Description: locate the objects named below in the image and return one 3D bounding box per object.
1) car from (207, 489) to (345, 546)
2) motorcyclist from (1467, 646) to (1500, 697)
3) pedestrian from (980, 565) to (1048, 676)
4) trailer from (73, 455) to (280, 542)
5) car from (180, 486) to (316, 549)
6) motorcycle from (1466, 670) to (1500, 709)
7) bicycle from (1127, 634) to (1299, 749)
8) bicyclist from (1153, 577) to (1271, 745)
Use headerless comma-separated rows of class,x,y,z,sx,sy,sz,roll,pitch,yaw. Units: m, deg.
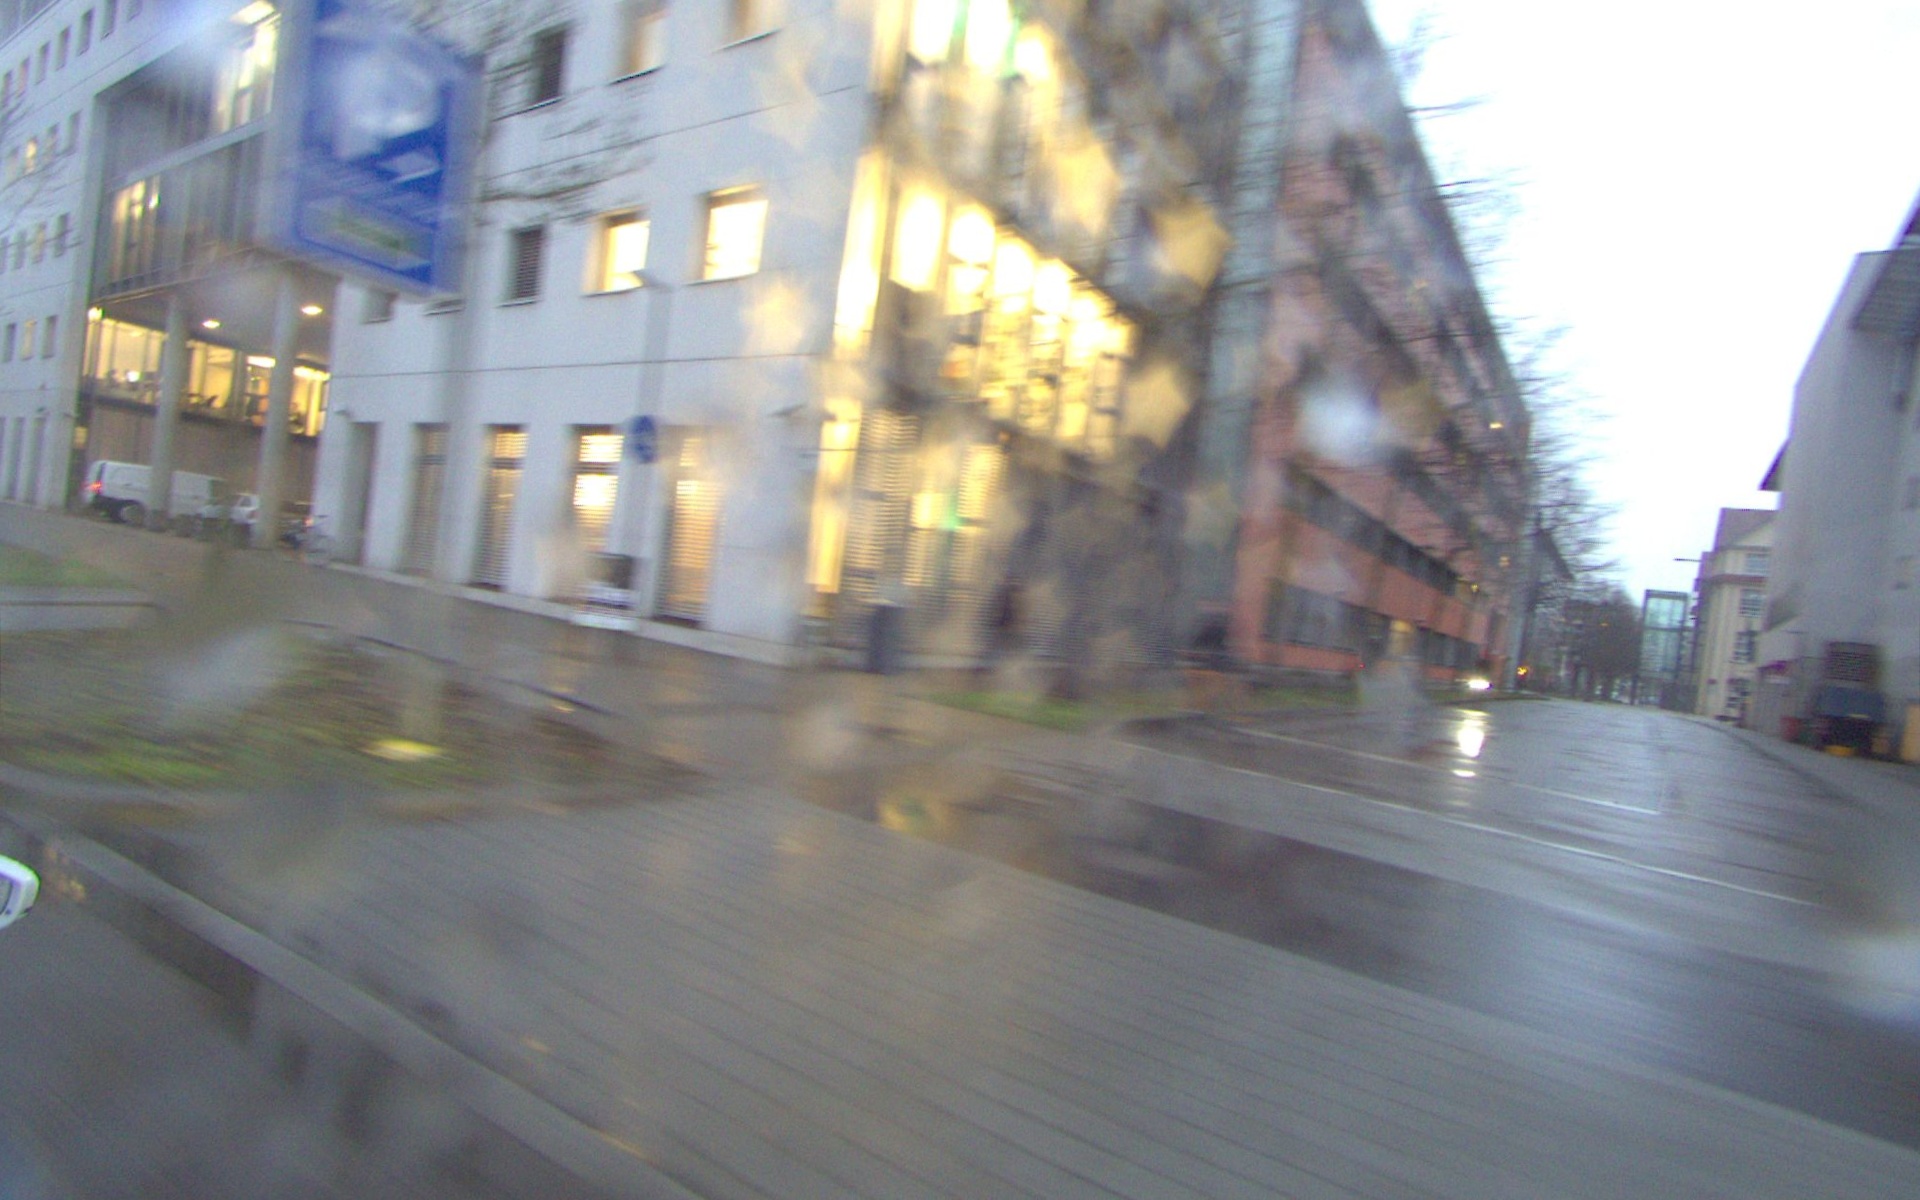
car,-26.030,-3.131,38.359,1.634,1.537,3.981,8,1,41
motorcyclist,16.613,2.271,31.918,0.601,1.471,0.897,6,-2,43
pedestrian,0.919,0.360,17.016,0.691,1.756,0.738,6,-1,32
trailer,-26.276,-3.369,33.918,2.099,1.935,5.064,9,0,40
car,-21.249,-2.474,29.976,4.456,1.386,1.635,6,-2,32
motorcycle,16.681,2.860,32.083,0.615,1.111,1.440,6,-2,37
bicycle,3.066,1.118,12.148,1.850,1.105,0.846,9,2,-33
bicyclist,3.016,0.726,12.077,0.725,1.845,0.832,8,2,-33
